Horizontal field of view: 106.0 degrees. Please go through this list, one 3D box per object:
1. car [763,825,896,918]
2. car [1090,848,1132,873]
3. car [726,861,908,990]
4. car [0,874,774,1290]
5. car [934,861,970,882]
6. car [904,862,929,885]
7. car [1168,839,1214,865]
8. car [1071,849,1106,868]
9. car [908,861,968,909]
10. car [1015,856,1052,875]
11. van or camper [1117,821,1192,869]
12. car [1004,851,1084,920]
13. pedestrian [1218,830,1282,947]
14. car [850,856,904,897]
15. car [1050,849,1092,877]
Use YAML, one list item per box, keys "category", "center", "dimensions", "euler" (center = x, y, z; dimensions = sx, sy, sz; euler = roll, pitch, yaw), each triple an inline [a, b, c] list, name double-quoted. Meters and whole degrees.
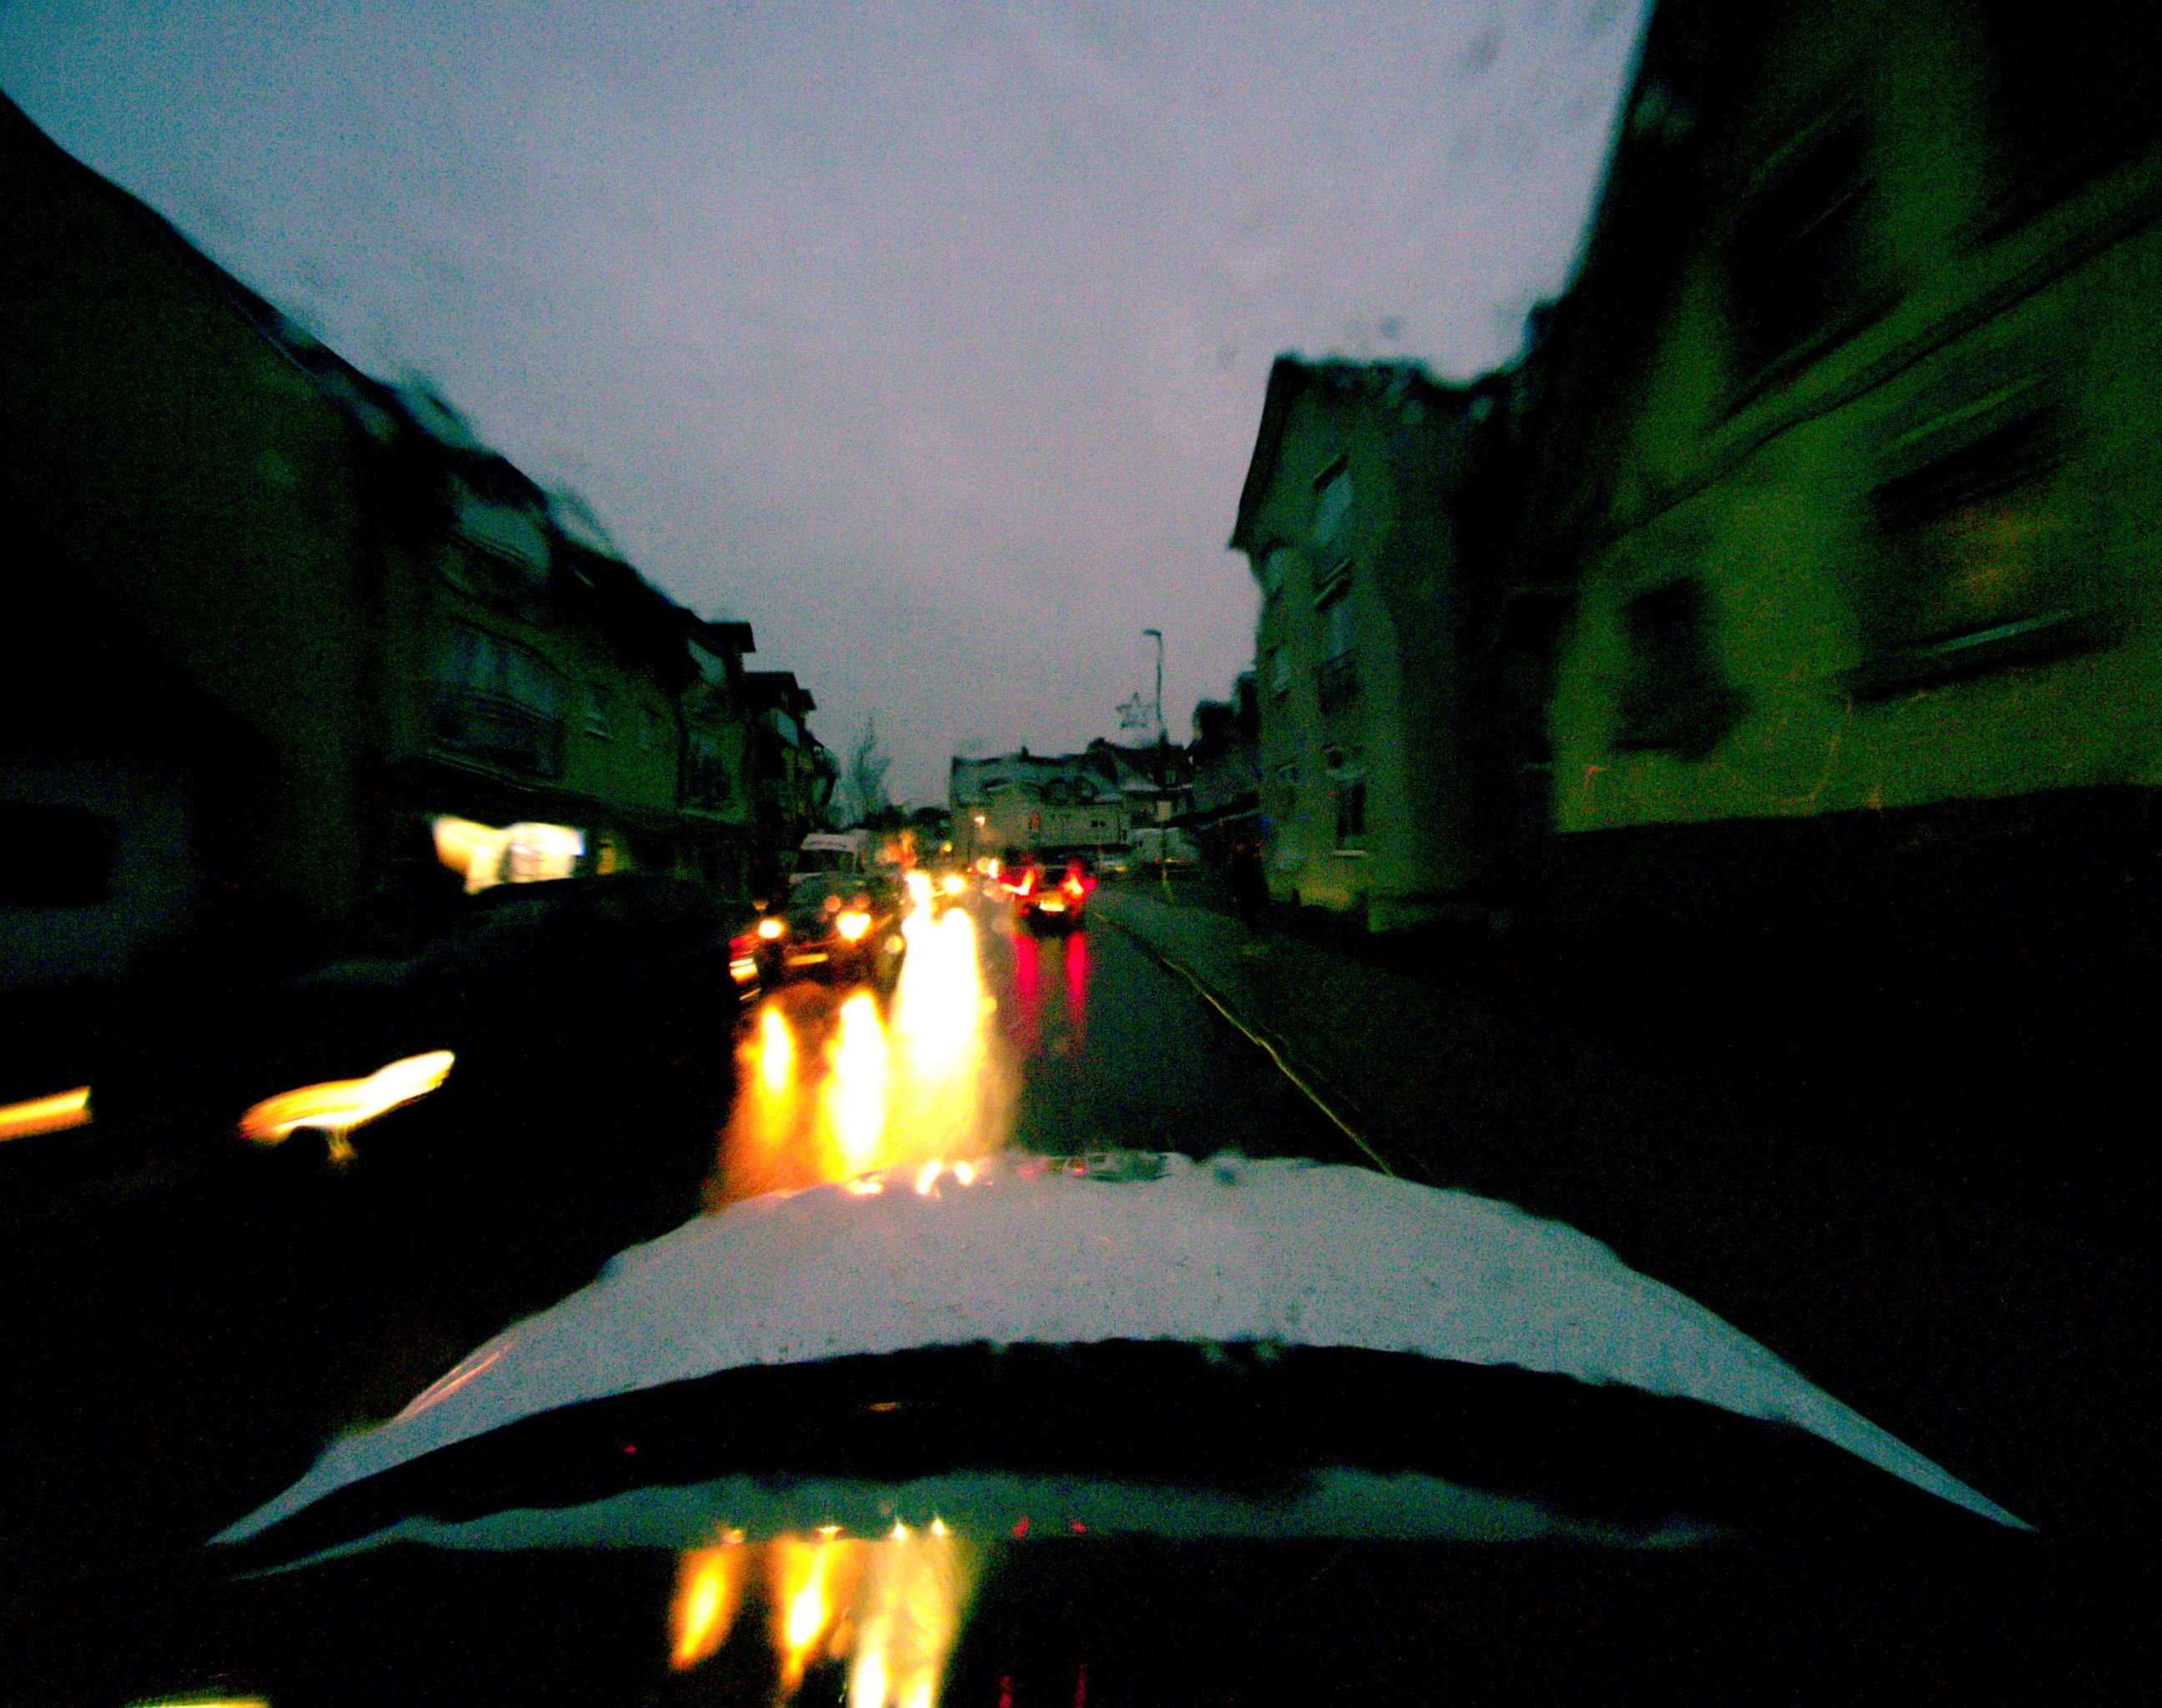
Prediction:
- category: "car"
  center: [-7.765, 0.544, 26.040]
  dimensions: [2.480, 2.560, 6.752]
  euler: [-1, -1, -3]
- category: "car"
  center: [2.093, 0.491, 58.388]
  dimensions: [1.994, 1.610, 4.158]
  euler: [-4, -1, -11]
- category: "car"
  center: [-3.975, 0.963, 13.026]
  dimensions: [1.993, 1.555, 4.246]
  euler: [-2, 1, -8]
- category: "car"
  center: [-3.663, 0.946, 5.231]
  dimensions: [1.853, 1.556, 4.253]
  euler: [1, -2, -2]
- category: "car"
  center: [-10.005, 1.345, 63.089]
  dimensions: [2.001, 1.588, 3.972]
  euler: [-1, -1, -21]
- category: "car"
  center: [-16.588, 1.952, 82.082]
  dimensions: [2.000, 2.202, 3.974]
  euler: [-1, -1, -19]
- category: "car"
  center: [7.877, -0.138, 58.670]
  dimensions: [1.791, 1.553, 3.980]
  euler: [-8, 1, -14]
- category: "car"
  center: [0.616, 0.421, 70.263]
  dimensions: [1.826, 1.462, 4.524]
  euler: [-4, 1, -15]
- category: "car"
  center: [-5.382, 1.148, 31.068]
  dimensions: [1.915, 1.564, 4.216]
  euler: [-4, -1, -7]
- category: "car"
  center: [-3.927, 0.965, 67.126]
  dimensions: [1.896, 1.462, 3.604]
  euler: [-2, 0, -24]
- category: "van or camper"
  center: [5.194, -0.590, 59.026]
  dimensions: [2.660, 3.047, 6.690]
  euler: [-6, 1, -19]
- category: "car"
  center: [-0.932, 0.743, 20.661]
  dimensions: [1.810, 1.533, 3.996]
  euler: [-1, 0, -2]
- category: "pedestrian"
  center: [2.594, 0.508, 12.585]
  dimensions: [0.742, 1.729, 0.873]
  euler: [-2, 1, 0]
- category: "car"
  center: [-9.875, 1.056, 39.791]
  dimensions: [1.993, 1.843, 5.287]
  euler: [-1, -1, -8]
- category: "car"
  center: [-0.771, 0.633, 58.162]
  dimensions: [1.996, 1.765, 4.331]
  euler: [-4, 0, -13]
